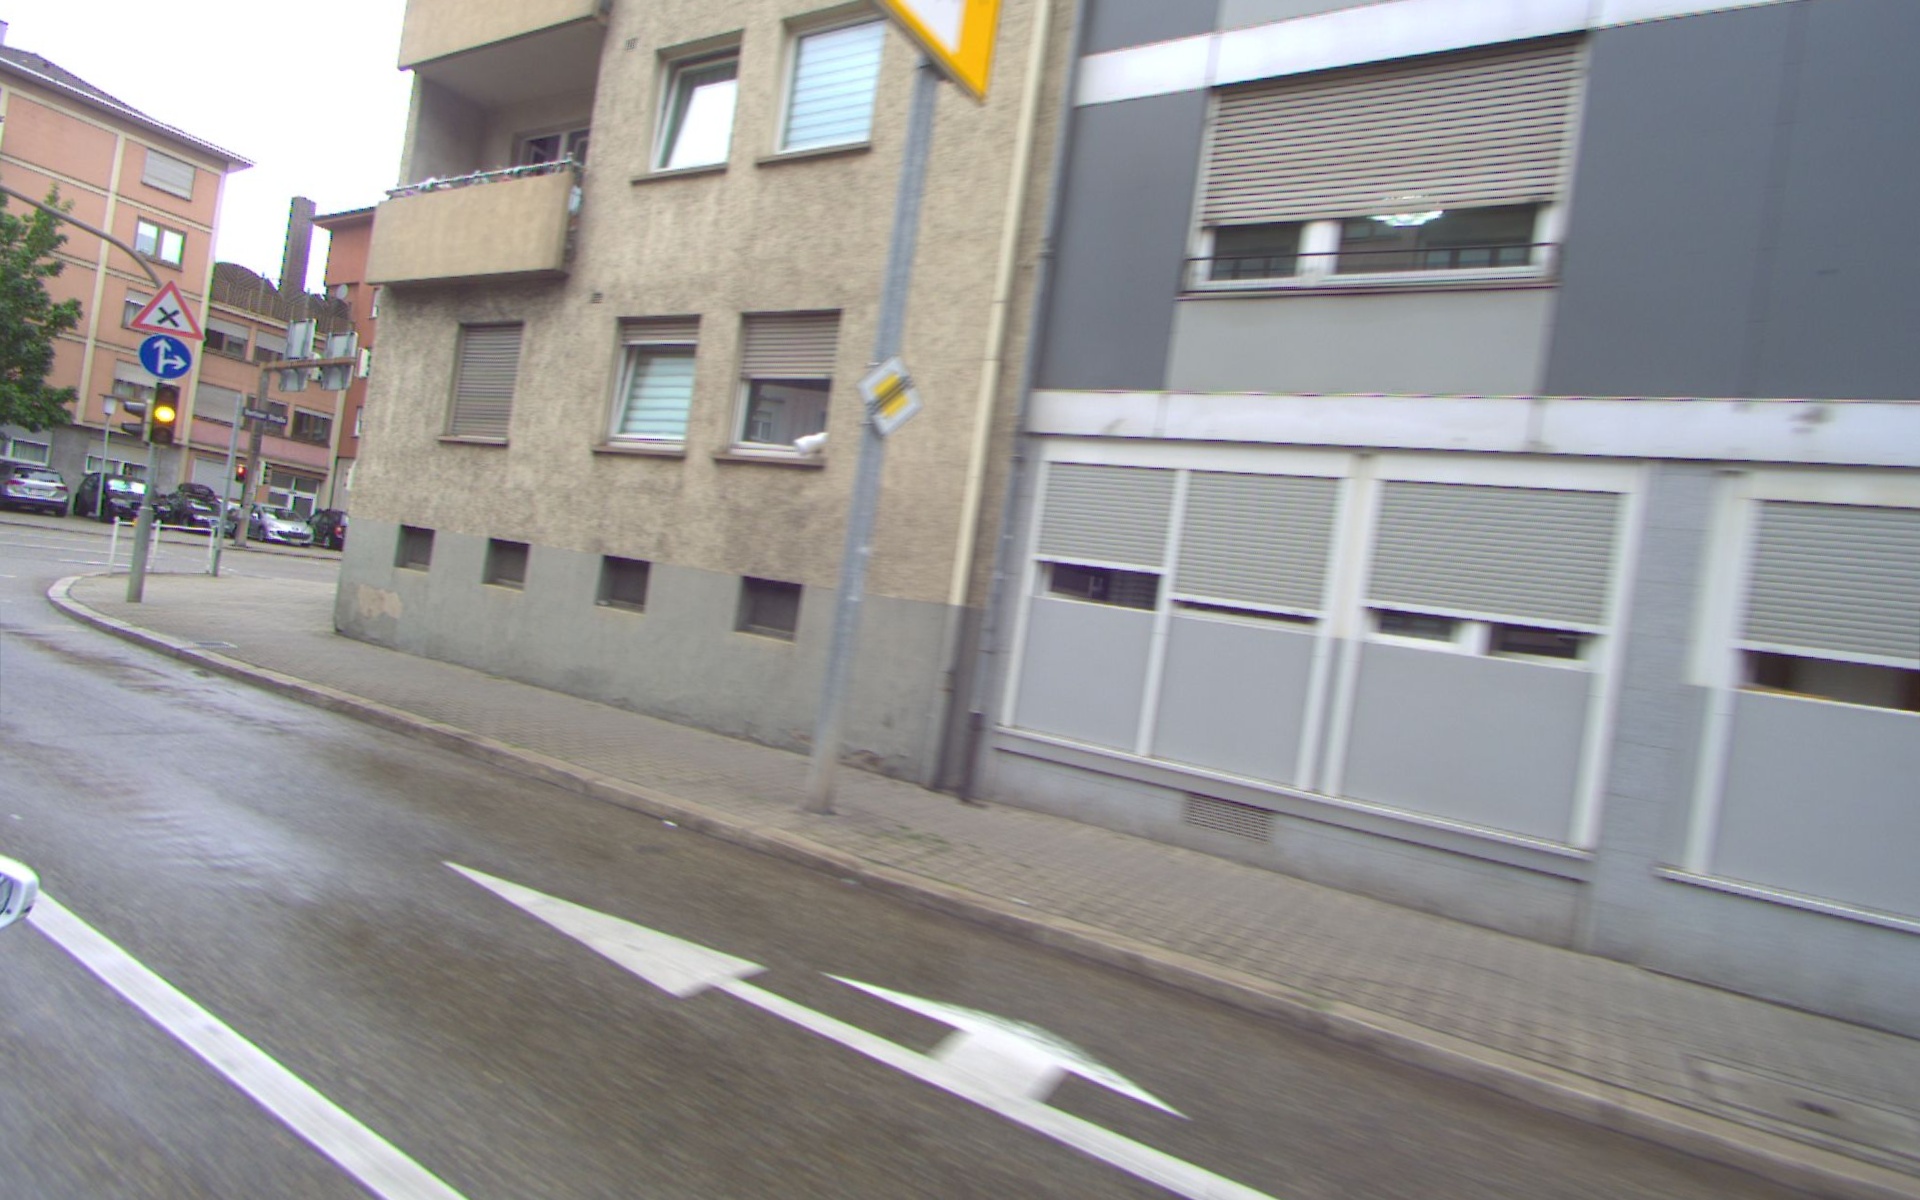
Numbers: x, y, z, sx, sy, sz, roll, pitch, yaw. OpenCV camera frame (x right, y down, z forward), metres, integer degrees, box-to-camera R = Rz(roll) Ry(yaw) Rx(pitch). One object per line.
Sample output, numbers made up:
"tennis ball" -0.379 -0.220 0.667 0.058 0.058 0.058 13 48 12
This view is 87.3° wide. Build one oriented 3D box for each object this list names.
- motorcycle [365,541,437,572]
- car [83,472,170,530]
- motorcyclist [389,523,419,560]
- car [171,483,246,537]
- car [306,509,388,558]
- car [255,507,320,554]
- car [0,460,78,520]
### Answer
"motorcycle" -20.800 -1.600 37.482 0.626 0.938 2.362 6 0 25
"car" -30.856 -3.685 37.199 3.948 1.740 1.982 7 0 44
"motorcyclist" -20.715 -2.168 37.484 0.643 1.239 0.657 8 2 26
"car" -29.604 -3.488 39.722 1.783 1.717 3.967 10 -2 -31
"car" -26.784 -2.911 43.910 3.949 1.725 1.991 5 -4 45
"car" -27.863 -2.851 41.623 1.663 1.599 3.957 10 -3 -40
"car" -32.731 -3.887 35.246 3.941 1.680 1.986 8 0 39
